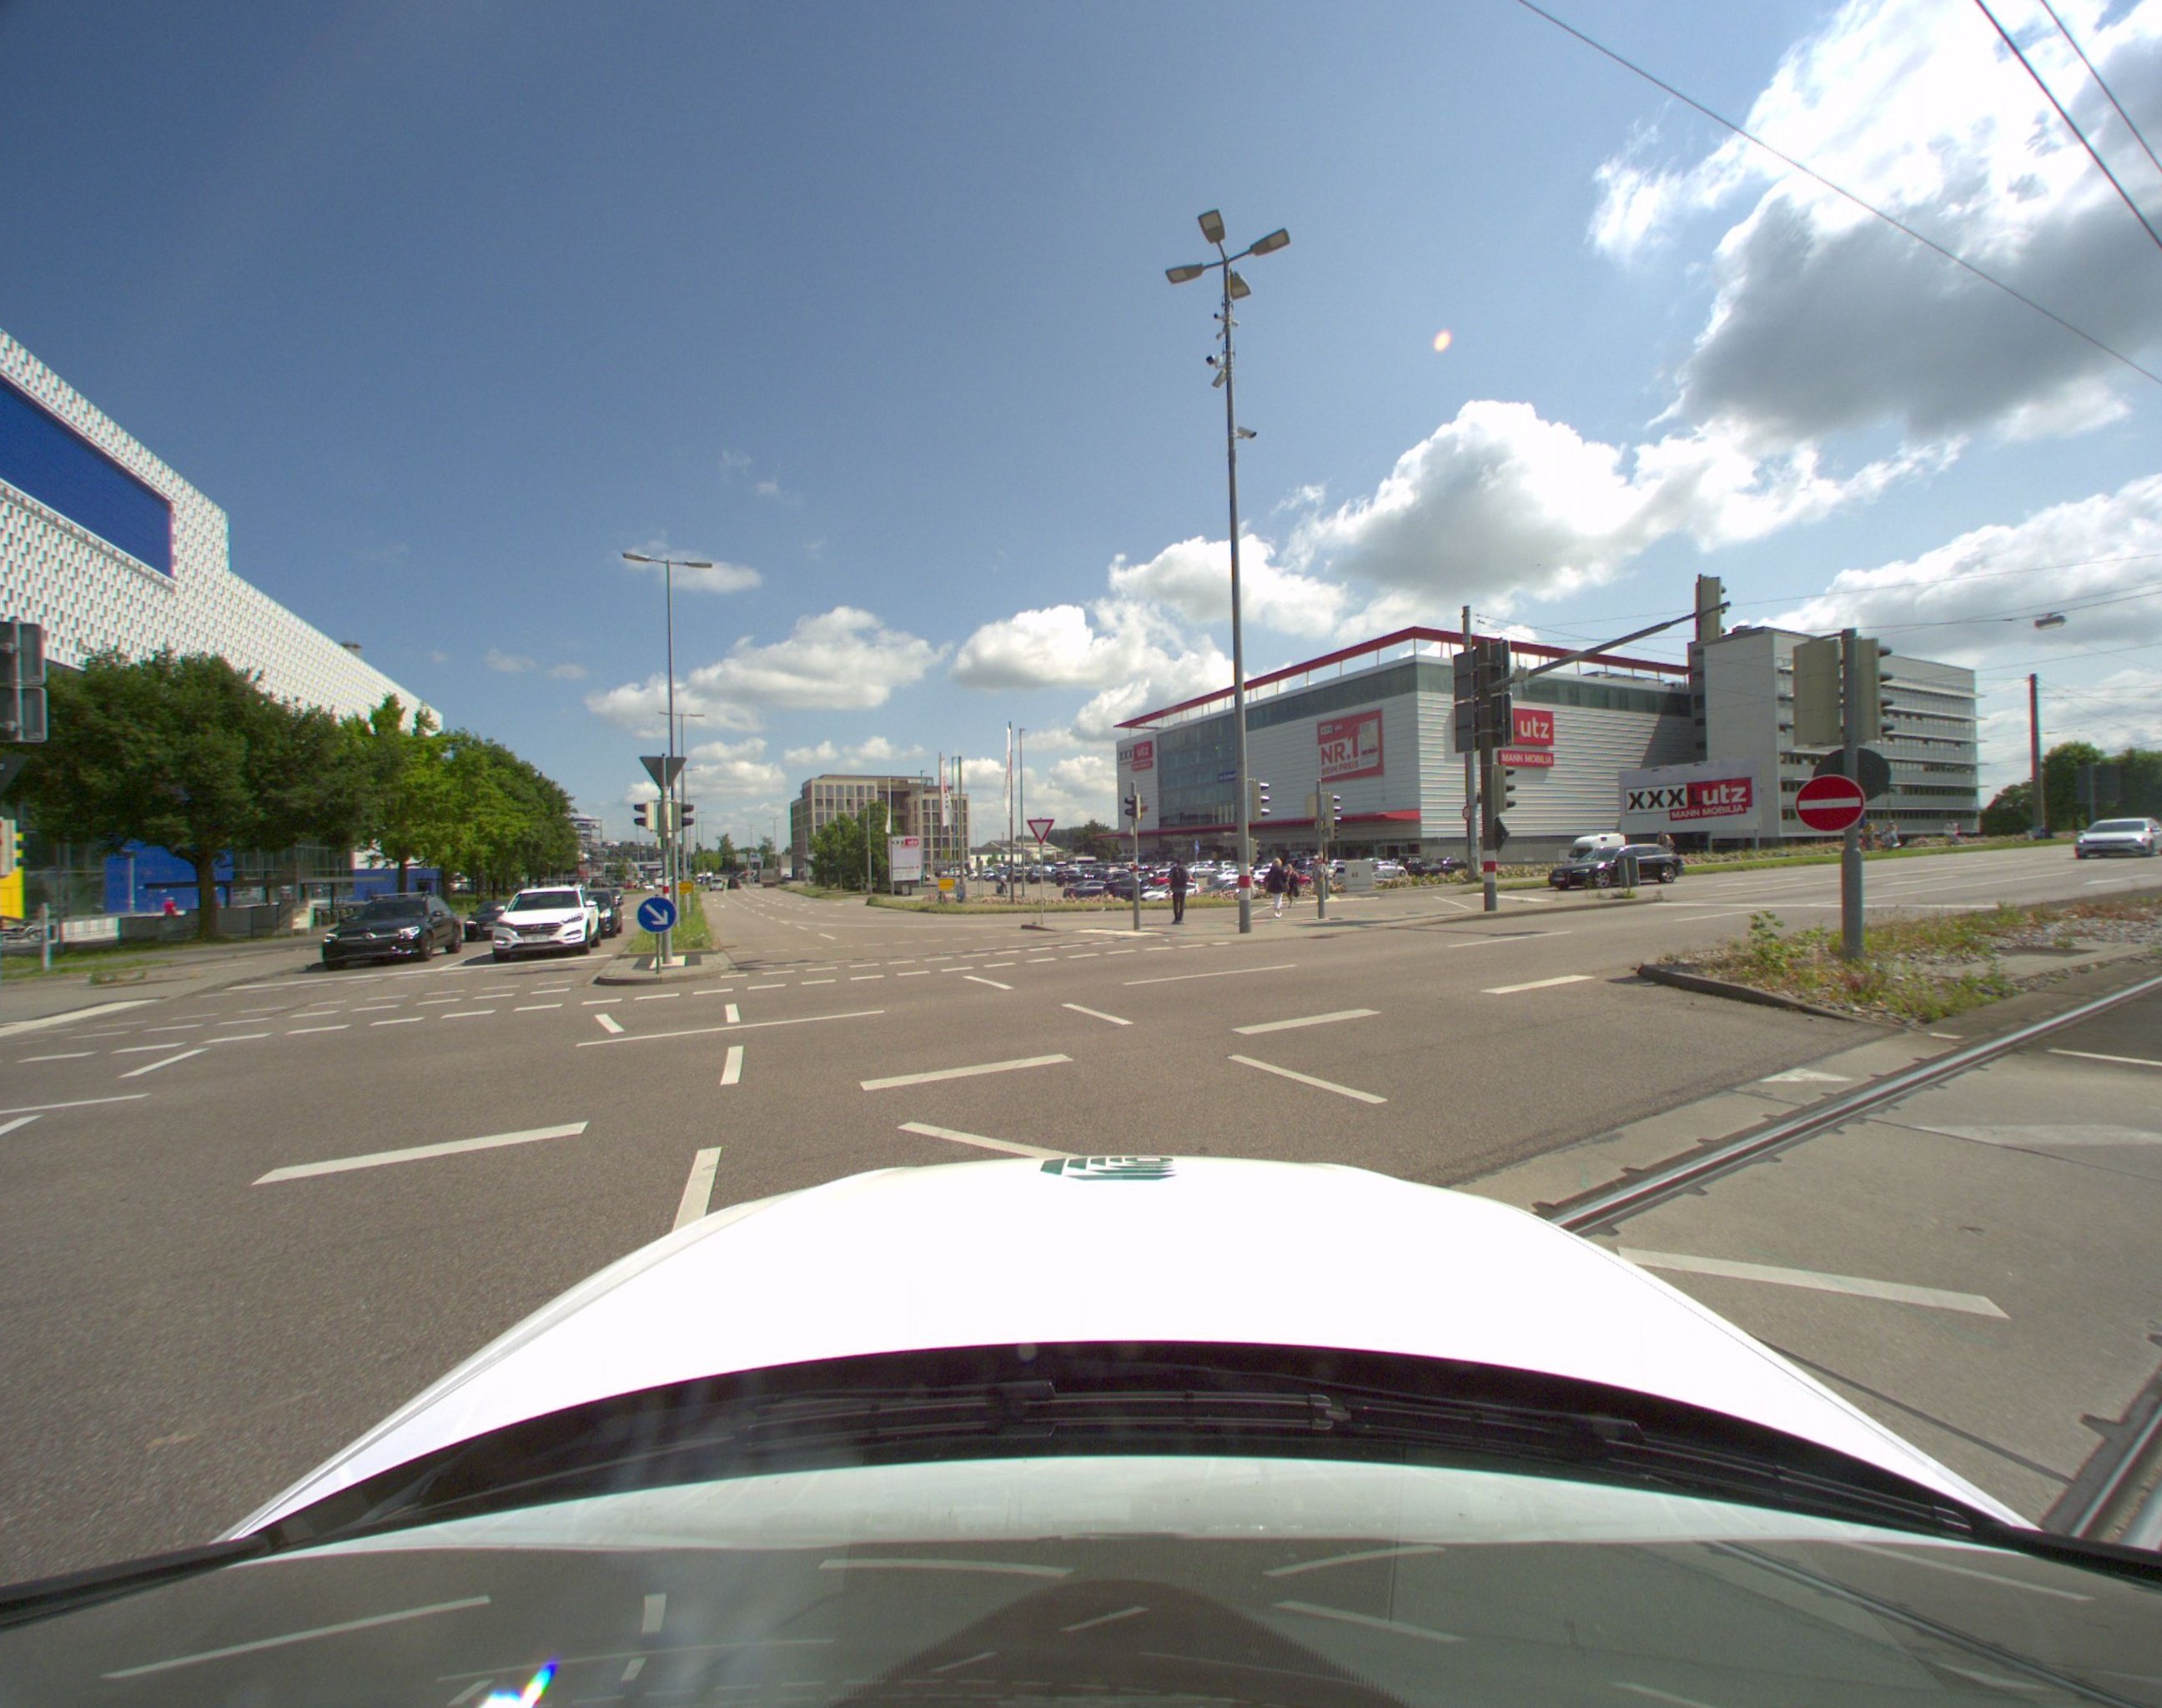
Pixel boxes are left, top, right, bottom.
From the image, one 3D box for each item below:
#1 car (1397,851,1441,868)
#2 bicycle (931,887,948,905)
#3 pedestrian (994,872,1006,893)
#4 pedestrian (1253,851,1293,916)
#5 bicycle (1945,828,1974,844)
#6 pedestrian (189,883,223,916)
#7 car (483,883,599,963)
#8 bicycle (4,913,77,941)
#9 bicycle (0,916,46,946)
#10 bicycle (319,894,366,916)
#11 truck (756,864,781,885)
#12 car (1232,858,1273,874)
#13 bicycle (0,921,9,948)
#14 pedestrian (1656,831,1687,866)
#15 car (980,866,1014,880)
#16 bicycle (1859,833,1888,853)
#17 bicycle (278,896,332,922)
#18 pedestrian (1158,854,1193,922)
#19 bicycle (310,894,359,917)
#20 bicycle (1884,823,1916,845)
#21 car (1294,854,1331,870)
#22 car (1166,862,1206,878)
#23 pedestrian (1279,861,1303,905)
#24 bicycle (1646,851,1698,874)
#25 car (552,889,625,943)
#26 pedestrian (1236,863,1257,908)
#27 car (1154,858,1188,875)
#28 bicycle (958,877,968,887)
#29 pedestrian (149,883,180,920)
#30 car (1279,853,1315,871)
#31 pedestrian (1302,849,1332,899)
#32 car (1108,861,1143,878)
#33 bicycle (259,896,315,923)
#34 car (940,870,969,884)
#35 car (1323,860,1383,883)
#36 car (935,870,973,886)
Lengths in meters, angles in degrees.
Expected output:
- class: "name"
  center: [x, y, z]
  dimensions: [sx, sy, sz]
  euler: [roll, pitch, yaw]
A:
- class: "car"
  center: [35.054, 0.547, 84.472]
  dimensions: [4.005, 1.739, 1.984]
  euler: [0, -1, -24]
- class: "bicycle"
  center: [-7.788, 2.315, 44.719]
  dimensions: [0.520, 0.952, 1.530]
  euler: [0, -2, -26]
- class: "pedestrian"
  center: [-7.058, 2.451, 70.837]
  dimensions: [0.865, 1.782, 0.785]
  euler: [0, -1, 4]
- class: "pedestrian"
  center: [5.456, 0.824, 23.181]
  dimensions: [0.857, 1.765, 0.866]
  euler: [-3, -1, 1]
- class: "bicycle"
  center: [56.276, -1.146, 52.177]
  dimensions: [1.988, 0.961, 0.593]
  euler: [0, -1, -21]
- class: "pedestrian"
  center: [-45.687, 2.370, 42.534]
  dimensions: [0.955, 1.703, 0.879]
  euler: [0, -2, -26]
- class: "car"
  center: [-13.056, 1.601, 19.949]
  dimensions: [1.717, 1.620, 4.340]
  euler: [-3, -1, -26]
- class: "bicycle"
  center: [-46.902, 3.279, 36.747]
  dimensions: [1.943, 1.131, 0.558]
  euler: [-2, -1, -30]
- class: "bicycle"
  center: [-45.806, 3.287, 34.754]
  dimensions: [1.946, 1.210, 0.524]
  euler: [0, -2, -30]
- class: "bicycle"
  center: [-43.140, 2.989, 47.618]
  dimensions: [1.935, 1.183, 0.624]
  euler: [0, -1, -26]
- class: "truck"
  center: [-59.896, 3.864, 156.454]
  dimensions: [3.132, 3.941, 8.820]
  euler: [0, -1, -12]
- class: "car"
  center: [17.943, 1.207, 85.244]
  dimensions: [4.037, 1.587, 1.680]
  euler: [-1, 0, -27]
- class: "bicycle"
  center: [-45.253, 3.321, 33.102]
  dimensions: [1.946, 1.070, 0.524]
  euler: [0, -2, -30]
- class: "pedestrian"
  center: [27.342, -0.253, 37.722]
  dimensions: [0.945, 1.592, 0.701]
  euler: [-1, -1, -14]
- class: "car"
  center: [-11.322, 2.553, 109.890]
  dimensions: [4.010, 1.571, 1.982]
  euler: [-2, 0, -28]
- class: "bicycle"
  center: [45.543, -0.617, 46.802]
  dimensions: [1.505, 1.165, 0.616]
  euler: [0, -1, -21]
- class: "bicycle"
  center: [-41.142, 2.903, 43.208]
  dimensions: [1.935, 1.273, 0.624]
  euler: [0, -1, -26]
- class: "pedestrian"
  center: [2.569, 0.920, 22.197]
  dimensions: [0.816, 1.802, 0.760]
  euler: [-2, -1, 1]
- class: "bicycle"
  center: [-42.591, 2.932, 46.489]
  dimensions: [1.935, 1.273, 0.624]
  euler: [0, -1, -26]
- class: "bicycle"
  center: [48.739, -1.187, 48.459]
  dimensions: [1.700, 0.960, 0.660]
  euler: [-8, -5, -26]
- class: "car"
  center: [27.913, 0.994, 98.038]
  dimensions: [4.009, 1.723, 1.982]
  euler: [-2, 0, -27]
- class: "car"
  center: [12.098, 1.801, 93.494]
  dimensions: [4.249, 1.587, 1.836]
  euler: [-2, 0, -28]
- class: "pedestrian"
  center: [7.448, 1.026, 28.879]
  dimensions: [0.585, 1.524, 0.466]
  euler: [-2, 0, -17]
- class: "bicycle"
  center: [27.360, 0.387, 37.705]
  dimensions: [2.212, 1.061, 0.727]
  euler: [0, -1, -14]
- class: "car"
  center: [-15.872, 1.929, 26.422]
  dimensions: [1.612, 1.493, 4.096]
  euler: [-3, -1, -26]
- class: "pedestrian"
  center: [5.736, 1.075, 28.190]
  dimensions: [0.556, 1.524, 0.467]
  euler: [0, -1, -17]
- class: "car"
  center: [11.940, 1.667, 108.157]
  dimensions: [4.008, 2.013, 1.983]
  euler: [-2, 0, -26]
- class: "bicycle"
  center: [-12.965, 3.105, 89.403]
  dimensions: [0.626, 1.068, 1.951]
  euler: [-2, 0, -25]
- class: "pedestrian"
  center: [-47.074, 2.426, 41.834]
  dimensions: [0.757, 1.823, 0.879]
  euler: [0, -2, -26]
- class: "car"
  center: [26.665, 1.027, 100.477]
  dimensions: [4.009, 2.013, 1.982]
  euler: [-2, 0, -27]
- class: "pedestrian"
  center: [8.363, 0.718, 28.914]
  dimensions: [0.688, 1.728, 0.697]
  euler: [-2, -2, -15]
- class: "car"
  center: [5.630, 1.953, 102.780]
  dimensions: [4.007, 2.014, 1.983]
  euler: [0, -1, -26]
- class: "bicycle"
  center: [-40.083, 2.786, 41.139]
  dimensions: [1.935, 1.273, 0.624]
  euler: [0, -1, -26]
- class: "car"
  center: [-19.828, 3.584, 127.844]
  dimensions: [4.007, 2.013, 1.983]
  euler: [-2, 0, -25]
- class: "car"
  center: [20.323, 1.290, 60.727]
  dimensions: [4.250, 1.587, 1.836]
  euler: [-1, 0, -29]
- class: "car"
  center: [-20.526, 3.871, 131.485]
  dimensions: [5.691, 2.366, 2.043]
  euler: [-2, 0, -28]
